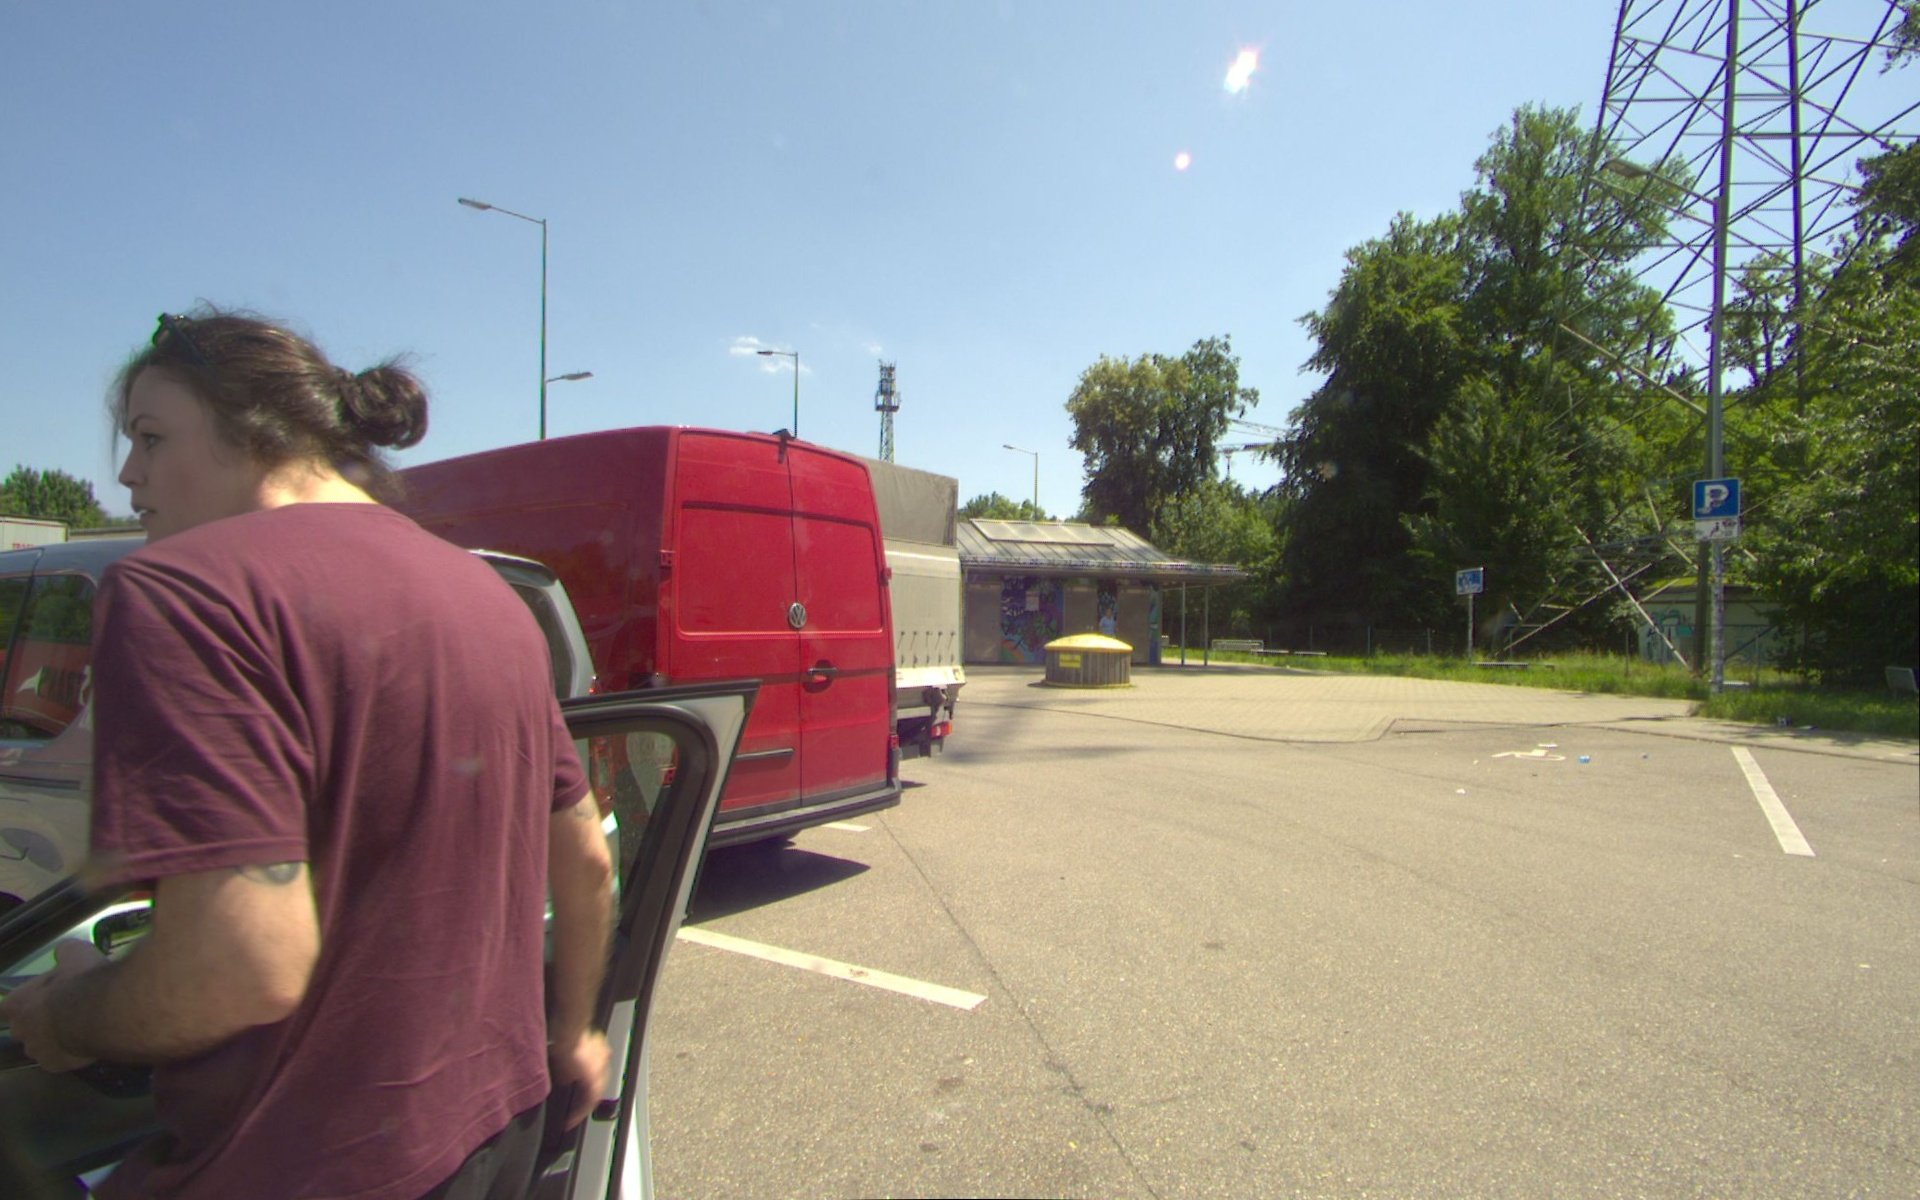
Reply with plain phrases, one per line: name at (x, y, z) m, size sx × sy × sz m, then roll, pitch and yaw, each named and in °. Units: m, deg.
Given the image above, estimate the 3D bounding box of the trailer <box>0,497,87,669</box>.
trailer at (-28.799, -0.429, 28.034) m, size 13.374 × 4.178 × 2.871 m, roll 0°, pitch -1°, yaw 33°

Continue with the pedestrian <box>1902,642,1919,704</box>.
pedestrian at (17.131, 1.280, 17.503) m, size 0.797 × 1.062 × 0.712 m, roll 0°, pitch -1°, yaw 30°

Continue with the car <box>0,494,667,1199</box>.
car at (-3.355, 0.643, 4.214) m, size 3.938 × 1.776 × 1.824 m, roll 0°, pitch -1°, yaw 29°

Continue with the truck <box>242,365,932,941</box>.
truck at (-2.869, 0.268, 6.999) m, size 5.233 × 2.658 × 1.987 m, roll 0°, pitch -1°, yaw 37°

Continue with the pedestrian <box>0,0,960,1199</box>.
pedestrian at (-0.611, 0.463, 1.176) m, size 0.926 × 1.798 × 0.827 m, roll 1°, pitch 0°, yaw 28°

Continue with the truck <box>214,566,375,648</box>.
truck at (-30.713, 0.329, 46.075) m, size 8.407 × 3.482 × 3.019 m, roll 0°, pitch -1°, yaw 33°

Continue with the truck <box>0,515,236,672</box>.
truck at (-27.996, -0.122, 31.787) m, size 14.316 × 4.175 × 2.901 m, roll 0°, pitch -3°, yaw 33°

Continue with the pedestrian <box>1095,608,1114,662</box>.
pedestrian at (4.115, 0.994, 28.436) m, size 0.453 × 1.535 × 0.375 m, roll 1°, pitch 0°, yaw -2°
